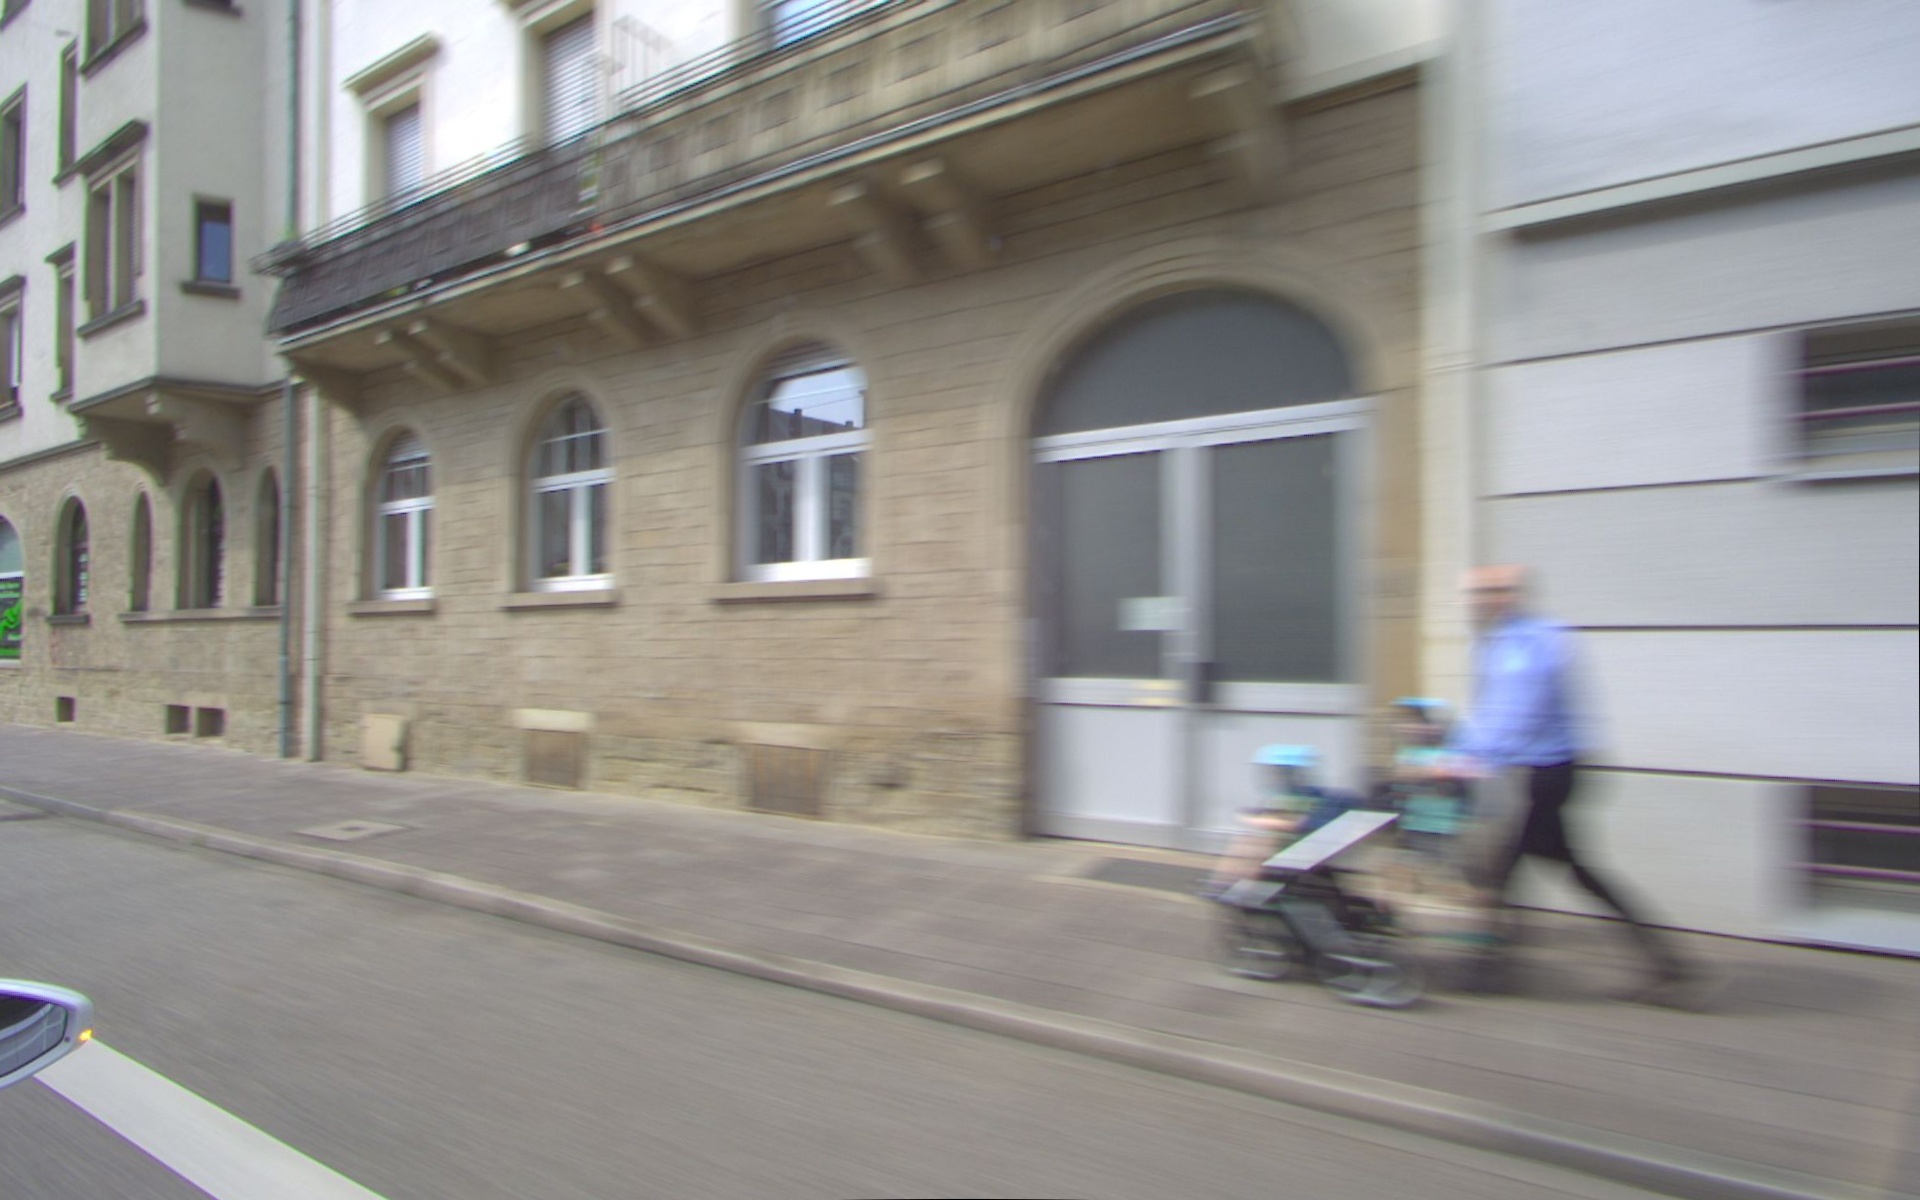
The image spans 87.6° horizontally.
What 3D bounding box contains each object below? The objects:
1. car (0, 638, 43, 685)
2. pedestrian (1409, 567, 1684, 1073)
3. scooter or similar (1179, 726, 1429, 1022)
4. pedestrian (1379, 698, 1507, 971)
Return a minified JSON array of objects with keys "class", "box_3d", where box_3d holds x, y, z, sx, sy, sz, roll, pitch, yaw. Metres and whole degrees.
[{"class":"car","box_3d":[-30.892,1.870,30.539,1.948,1.460,4.002,0,-2,6]},{"class":"pedestrian","box_3d":[2.311,0.771,3.974,0.865,1.762,0.619,-1,1,33]},{"class":"scooter or similar","box_3d":[1.494,1.117,4.342,0.893,1.016,0.591,-1,2,33]},{"class":"pedestrian","box_3d":[2.275,1.057,4.709,0.487,1.149,0.455,-1,-2,33]}]
